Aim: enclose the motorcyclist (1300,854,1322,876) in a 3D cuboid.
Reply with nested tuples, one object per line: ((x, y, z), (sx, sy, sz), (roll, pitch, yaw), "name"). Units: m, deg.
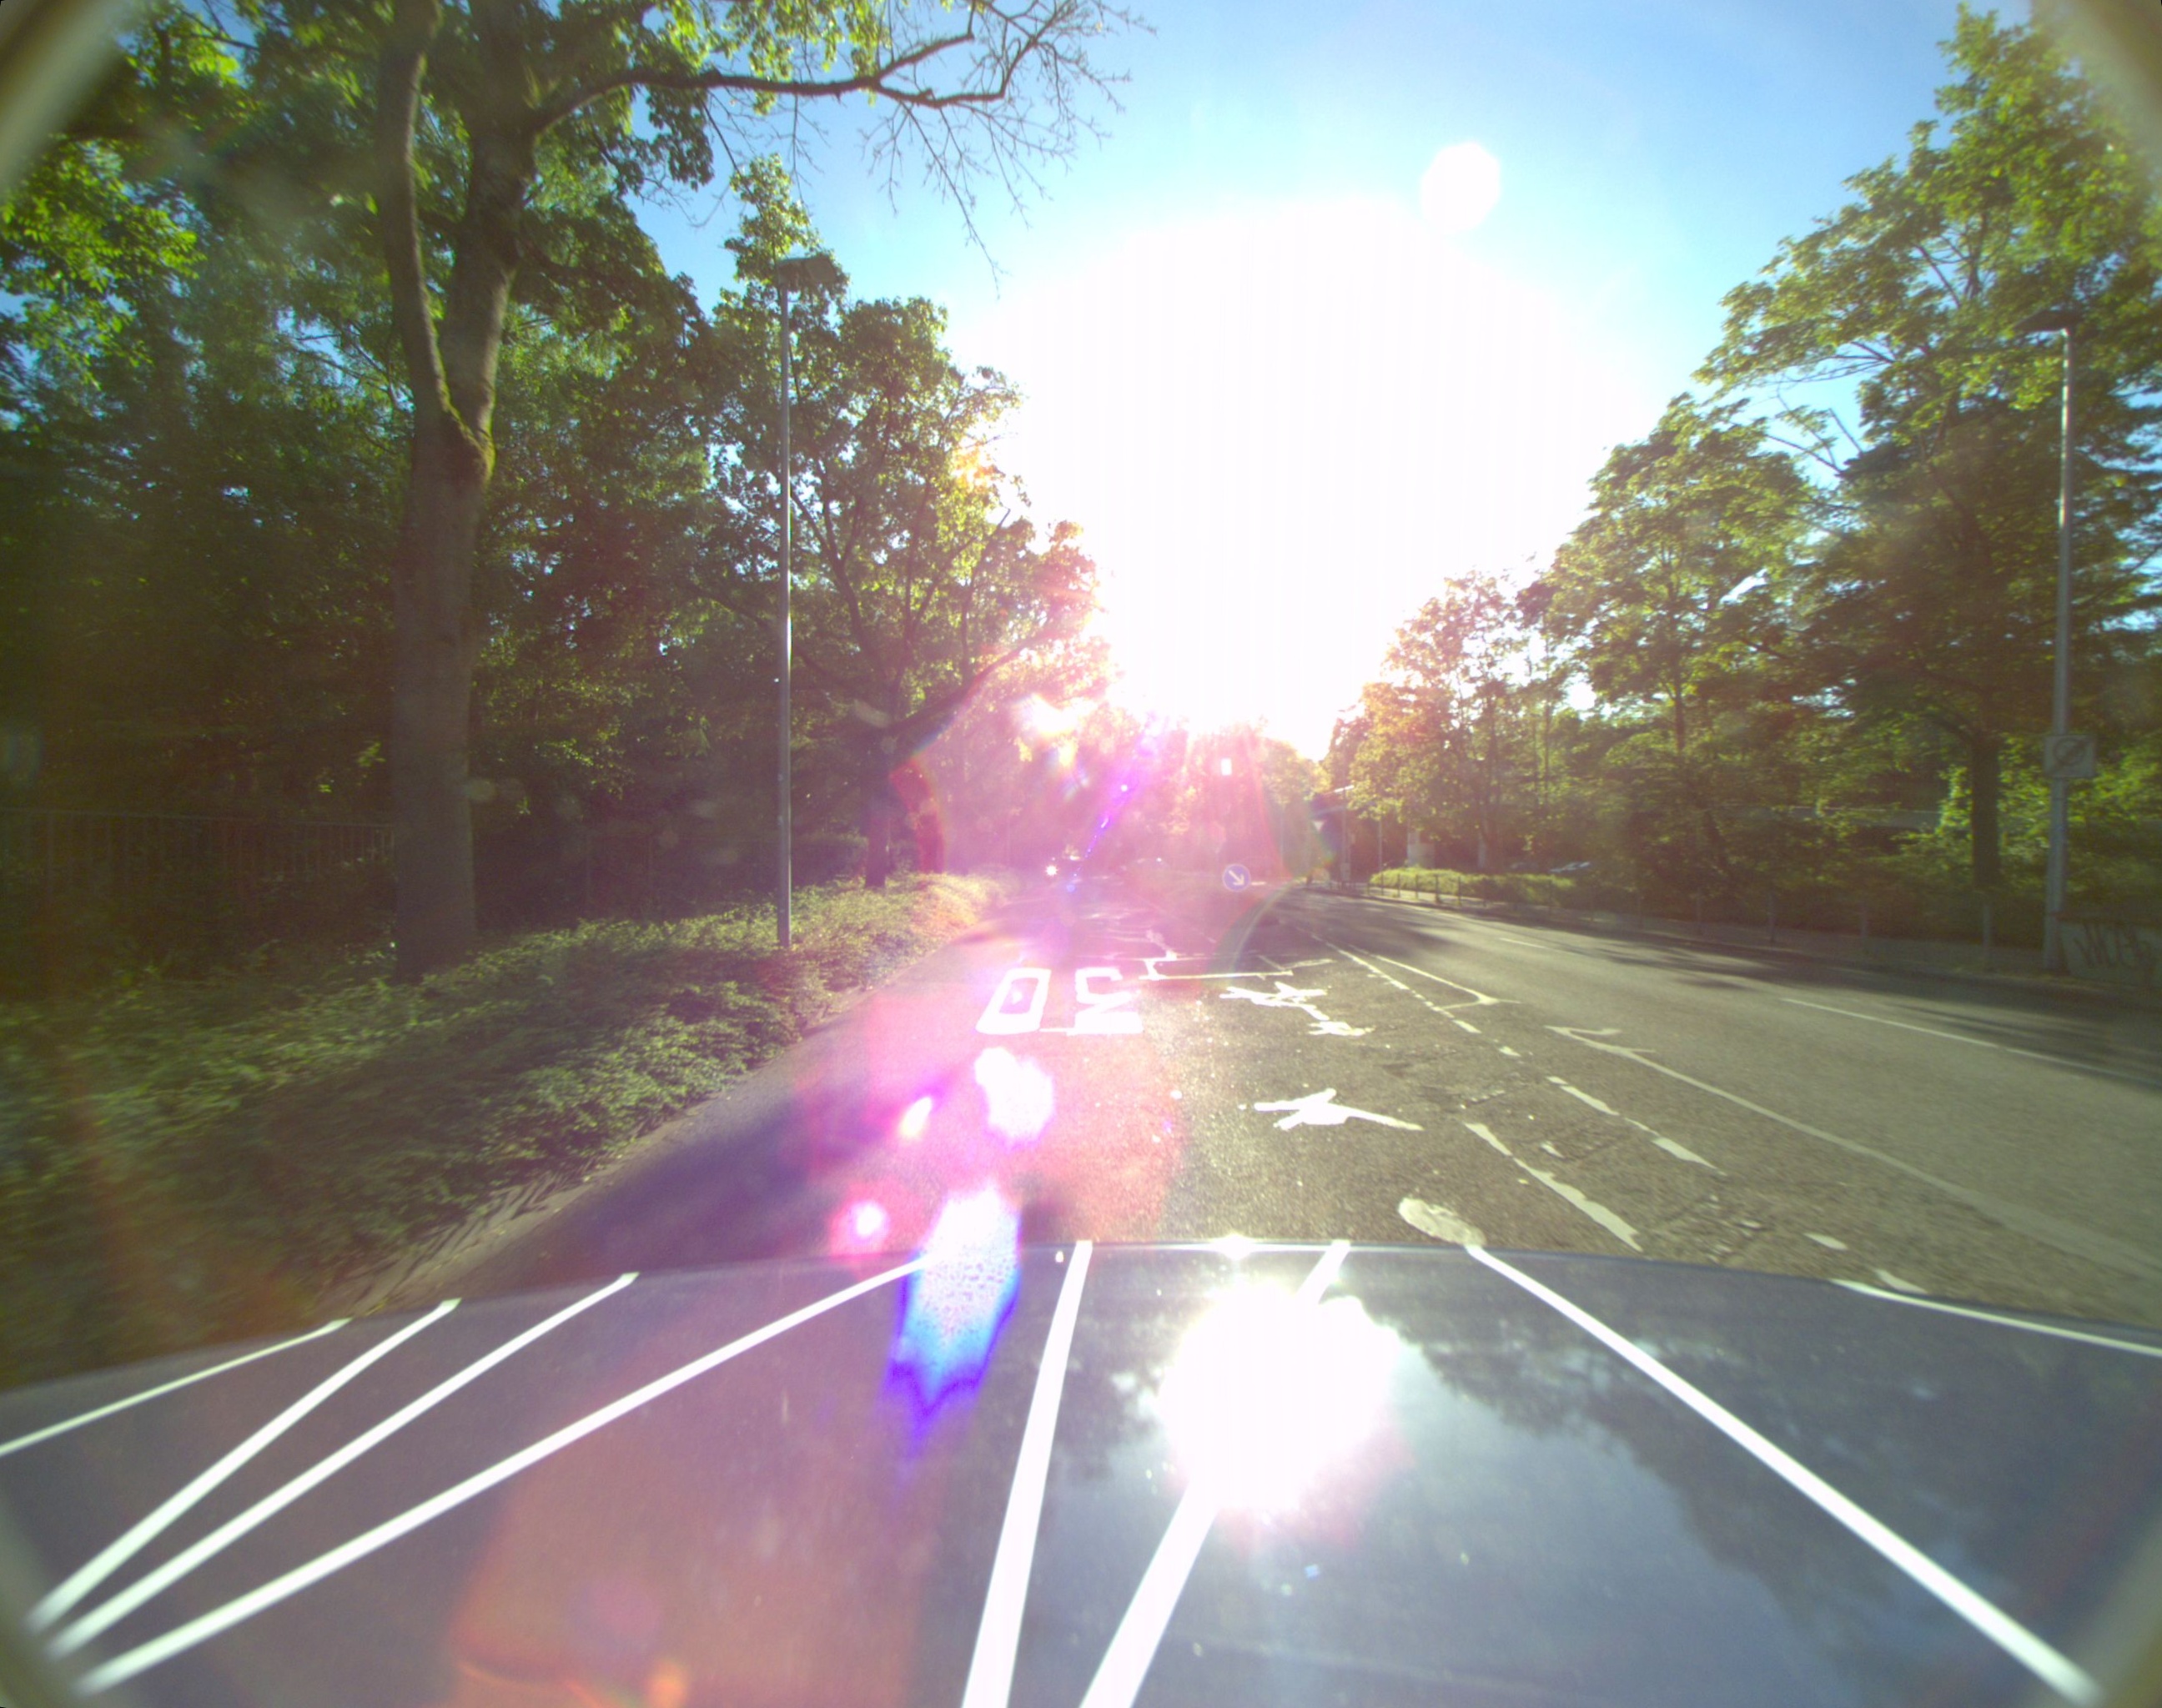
((15.146, 0.708, 50.024), (1.071, 1.462, 0.949), (0, 1, -30), "motorcyclist")

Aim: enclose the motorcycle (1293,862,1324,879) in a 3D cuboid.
((14.968, 1.092, 49.907), (2.291, 1.062, 0.523), (0, 1, -29), "motorcycle")

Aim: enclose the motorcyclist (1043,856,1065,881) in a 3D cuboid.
((-1.560, 0.821, 44.324), (1.138, 1.419, 1.566), (-2, 1, 0), "motorcyclist")

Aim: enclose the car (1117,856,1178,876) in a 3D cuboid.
((4.795, 0.815, 54.980), (4.006, 1.381, 1.864), (0, 1, -28), "car")

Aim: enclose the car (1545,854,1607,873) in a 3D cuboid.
((41.254, 0.767, 63.389), (3.973, 1.499, 1.721), (0, 1, -1), "car")

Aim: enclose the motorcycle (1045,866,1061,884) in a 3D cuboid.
((-1.600, 1.219, 44.362), (0.807, 0.907, 2.712), (-2, 0, 0), "motorcycle")
